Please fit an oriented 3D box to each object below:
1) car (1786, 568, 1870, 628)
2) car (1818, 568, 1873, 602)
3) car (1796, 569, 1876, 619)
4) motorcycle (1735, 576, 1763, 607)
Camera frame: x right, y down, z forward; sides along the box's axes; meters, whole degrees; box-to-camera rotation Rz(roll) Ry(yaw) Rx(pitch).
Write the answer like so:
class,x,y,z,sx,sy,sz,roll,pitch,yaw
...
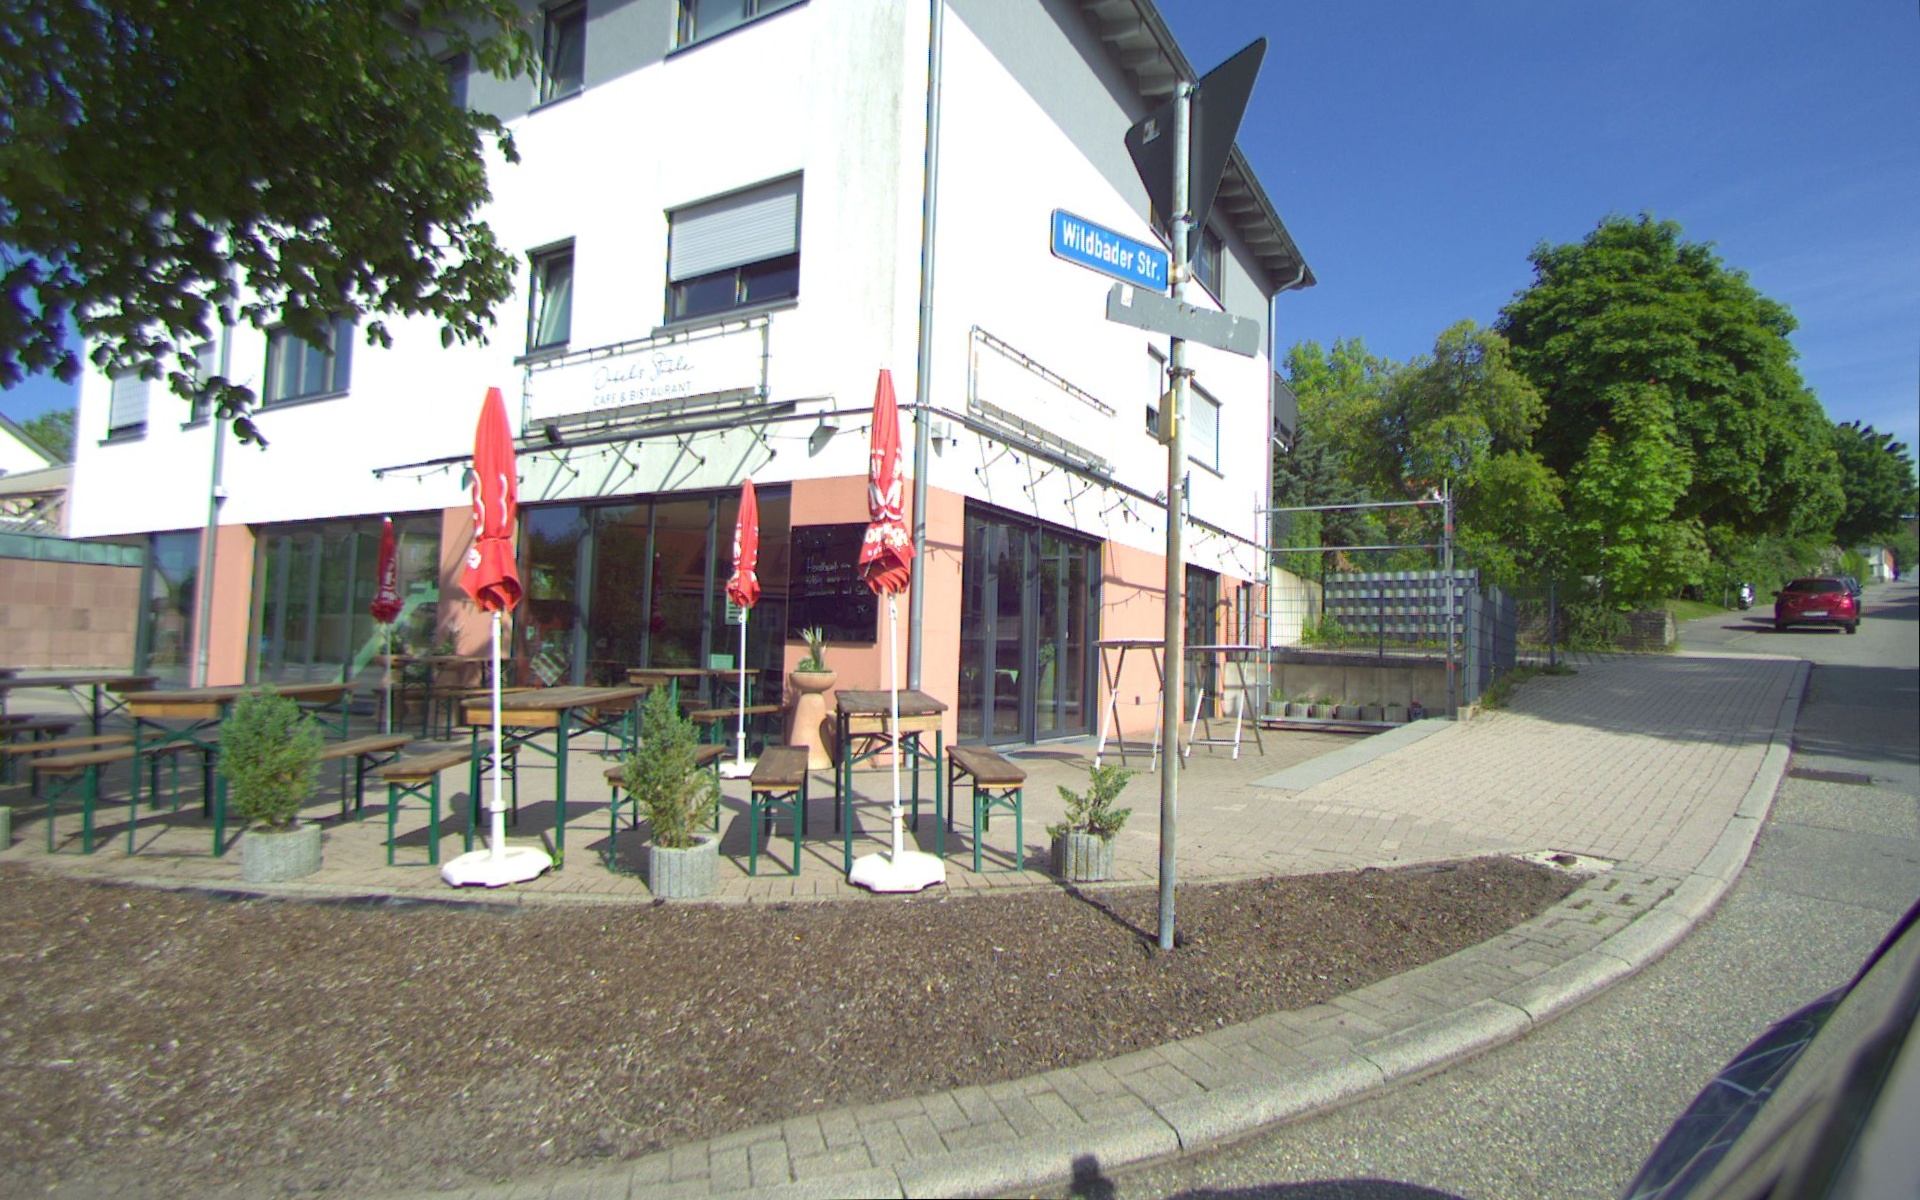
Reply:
class,x,y,z,sx,sy,sz,roll,pitch,yaw
car,23.918,-0.087,27.846,1.619,1.517,3.752,0,1,43
car,39.842,-0.672,45.505,1.770,1.489,3.752,0,1,43
car,27.659,-0.216,31.919,1.770,1.489,3.752,0,1,43
motorcycle,31.739,-0.352,40.701,0.782,1.196,2.156,0,1,41
